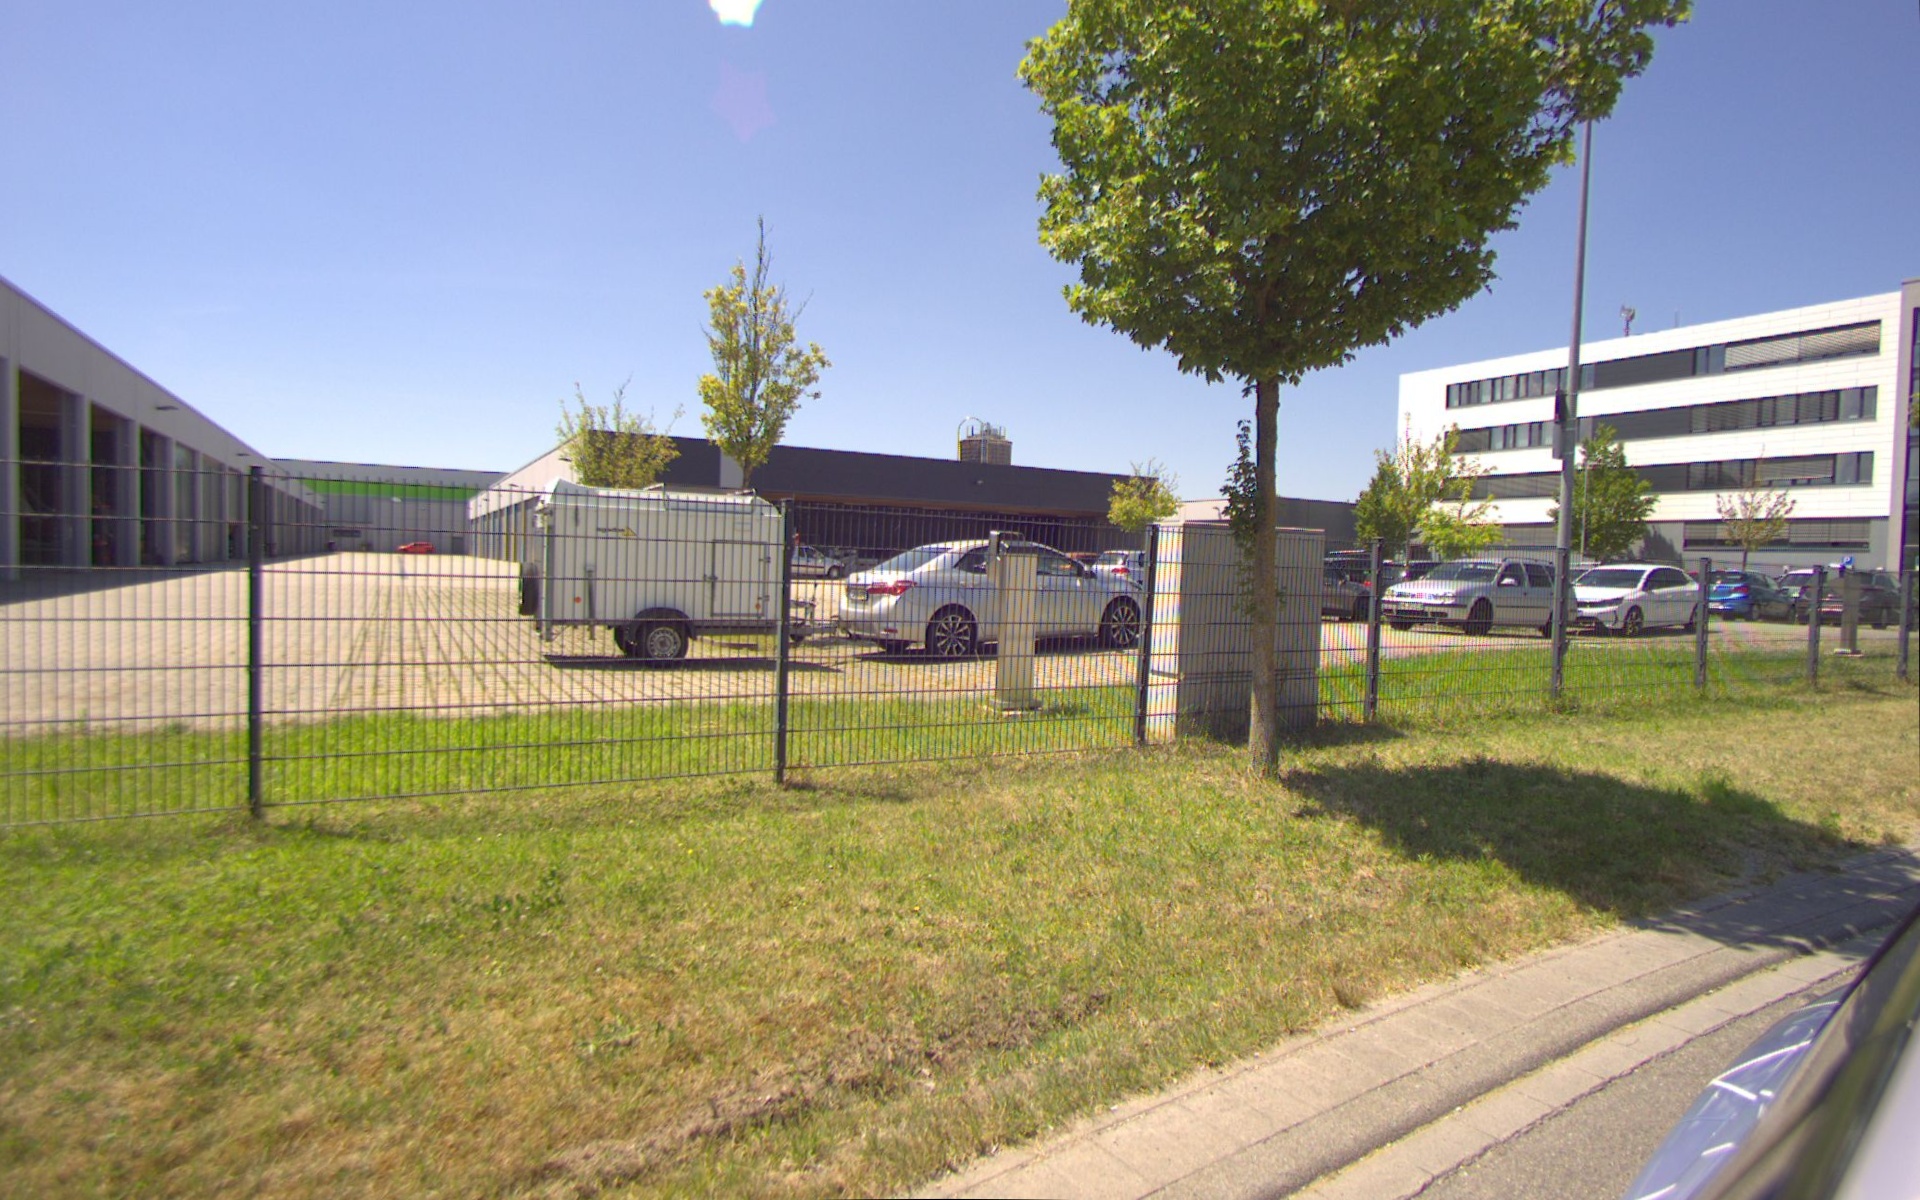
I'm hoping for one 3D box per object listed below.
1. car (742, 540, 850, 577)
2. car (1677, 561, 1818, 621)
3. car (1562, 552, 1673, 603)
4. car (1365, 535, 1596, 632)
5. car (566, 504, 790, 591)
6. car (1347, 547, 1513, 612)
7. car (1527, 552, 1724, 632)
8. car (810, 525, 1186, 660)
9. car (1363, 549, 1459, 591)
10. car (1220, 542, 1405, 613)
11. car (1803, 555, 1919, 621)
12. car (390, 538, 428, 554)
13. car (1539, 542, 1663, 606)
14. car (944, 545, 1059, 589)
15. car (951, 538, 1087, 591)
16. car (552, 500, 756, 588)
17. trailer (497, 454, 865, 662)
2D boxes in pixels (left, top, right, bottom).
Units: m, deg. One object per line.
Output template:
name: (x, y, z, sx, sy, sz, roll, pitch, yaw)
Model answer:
car: (-7.535, -1.886, 46.469, 4.514, 1.517, 1.858, 1, 2, -29)
car: (22.703, -0.232, 29.159, 3.845, 1.473, 1.834, 4, -2, -29)
car: (25.128, -0.832, 38.651, 3.844, 1.666, 1.835, 4, -2, -27)
car: (9.795, -0.276, 18.990, 4.203, 1.517, 1.857, 3, 0, -31)
car: (-7.891, -1.528, 28.570, 5.718, 2.251, 2.147, -3, 4, -31)
car: (12.015, -0.530, 25.863, 3.845, 1.517, 1.858, 1, 2, -28)
car: (14.196, -0.238, 21.583, 3.846, 1.517, 1.858, -2, 3, -28)
car: (0.577, -0.199, 13.585, 4.759, 1.517, 1.858, -3, 3, -29)
car: (19.886, -1.286, 44.642, 3.844, 1.557, 1.835, 4, -2, -27)
car: (8.105, -0.502, 23.276, 3.845, 1.517, 1.858, 1, 2, -28)
car: (24.185, -0.323, 26.571, 3.846, 1.593, 1.836, 1, 3, -29)
car: (-66.417, -6.462, 122.030, 3.918, 1.794, 2.003, 0, 0, -27)
car: (21.852, -0.846, 34.502, 3.844, 1.895, 1.835, 4, -2, -27)
car: (1.562, -1.234, 37.840, 3.845, 1.517, 1.858, 1, 2, -28)
car: (2.010, -1.188, 34.337, 4.166, 1.651, 1.971, 1, 2, -28)
car: (-9.358, -1.758, 31.137, 5.568, 2.487, 2.199, -3, 3, -31)
trailer: (-3.168, -0.386, 11.533, 3.662, 2.024, 1.858, 2, 1, -29)
